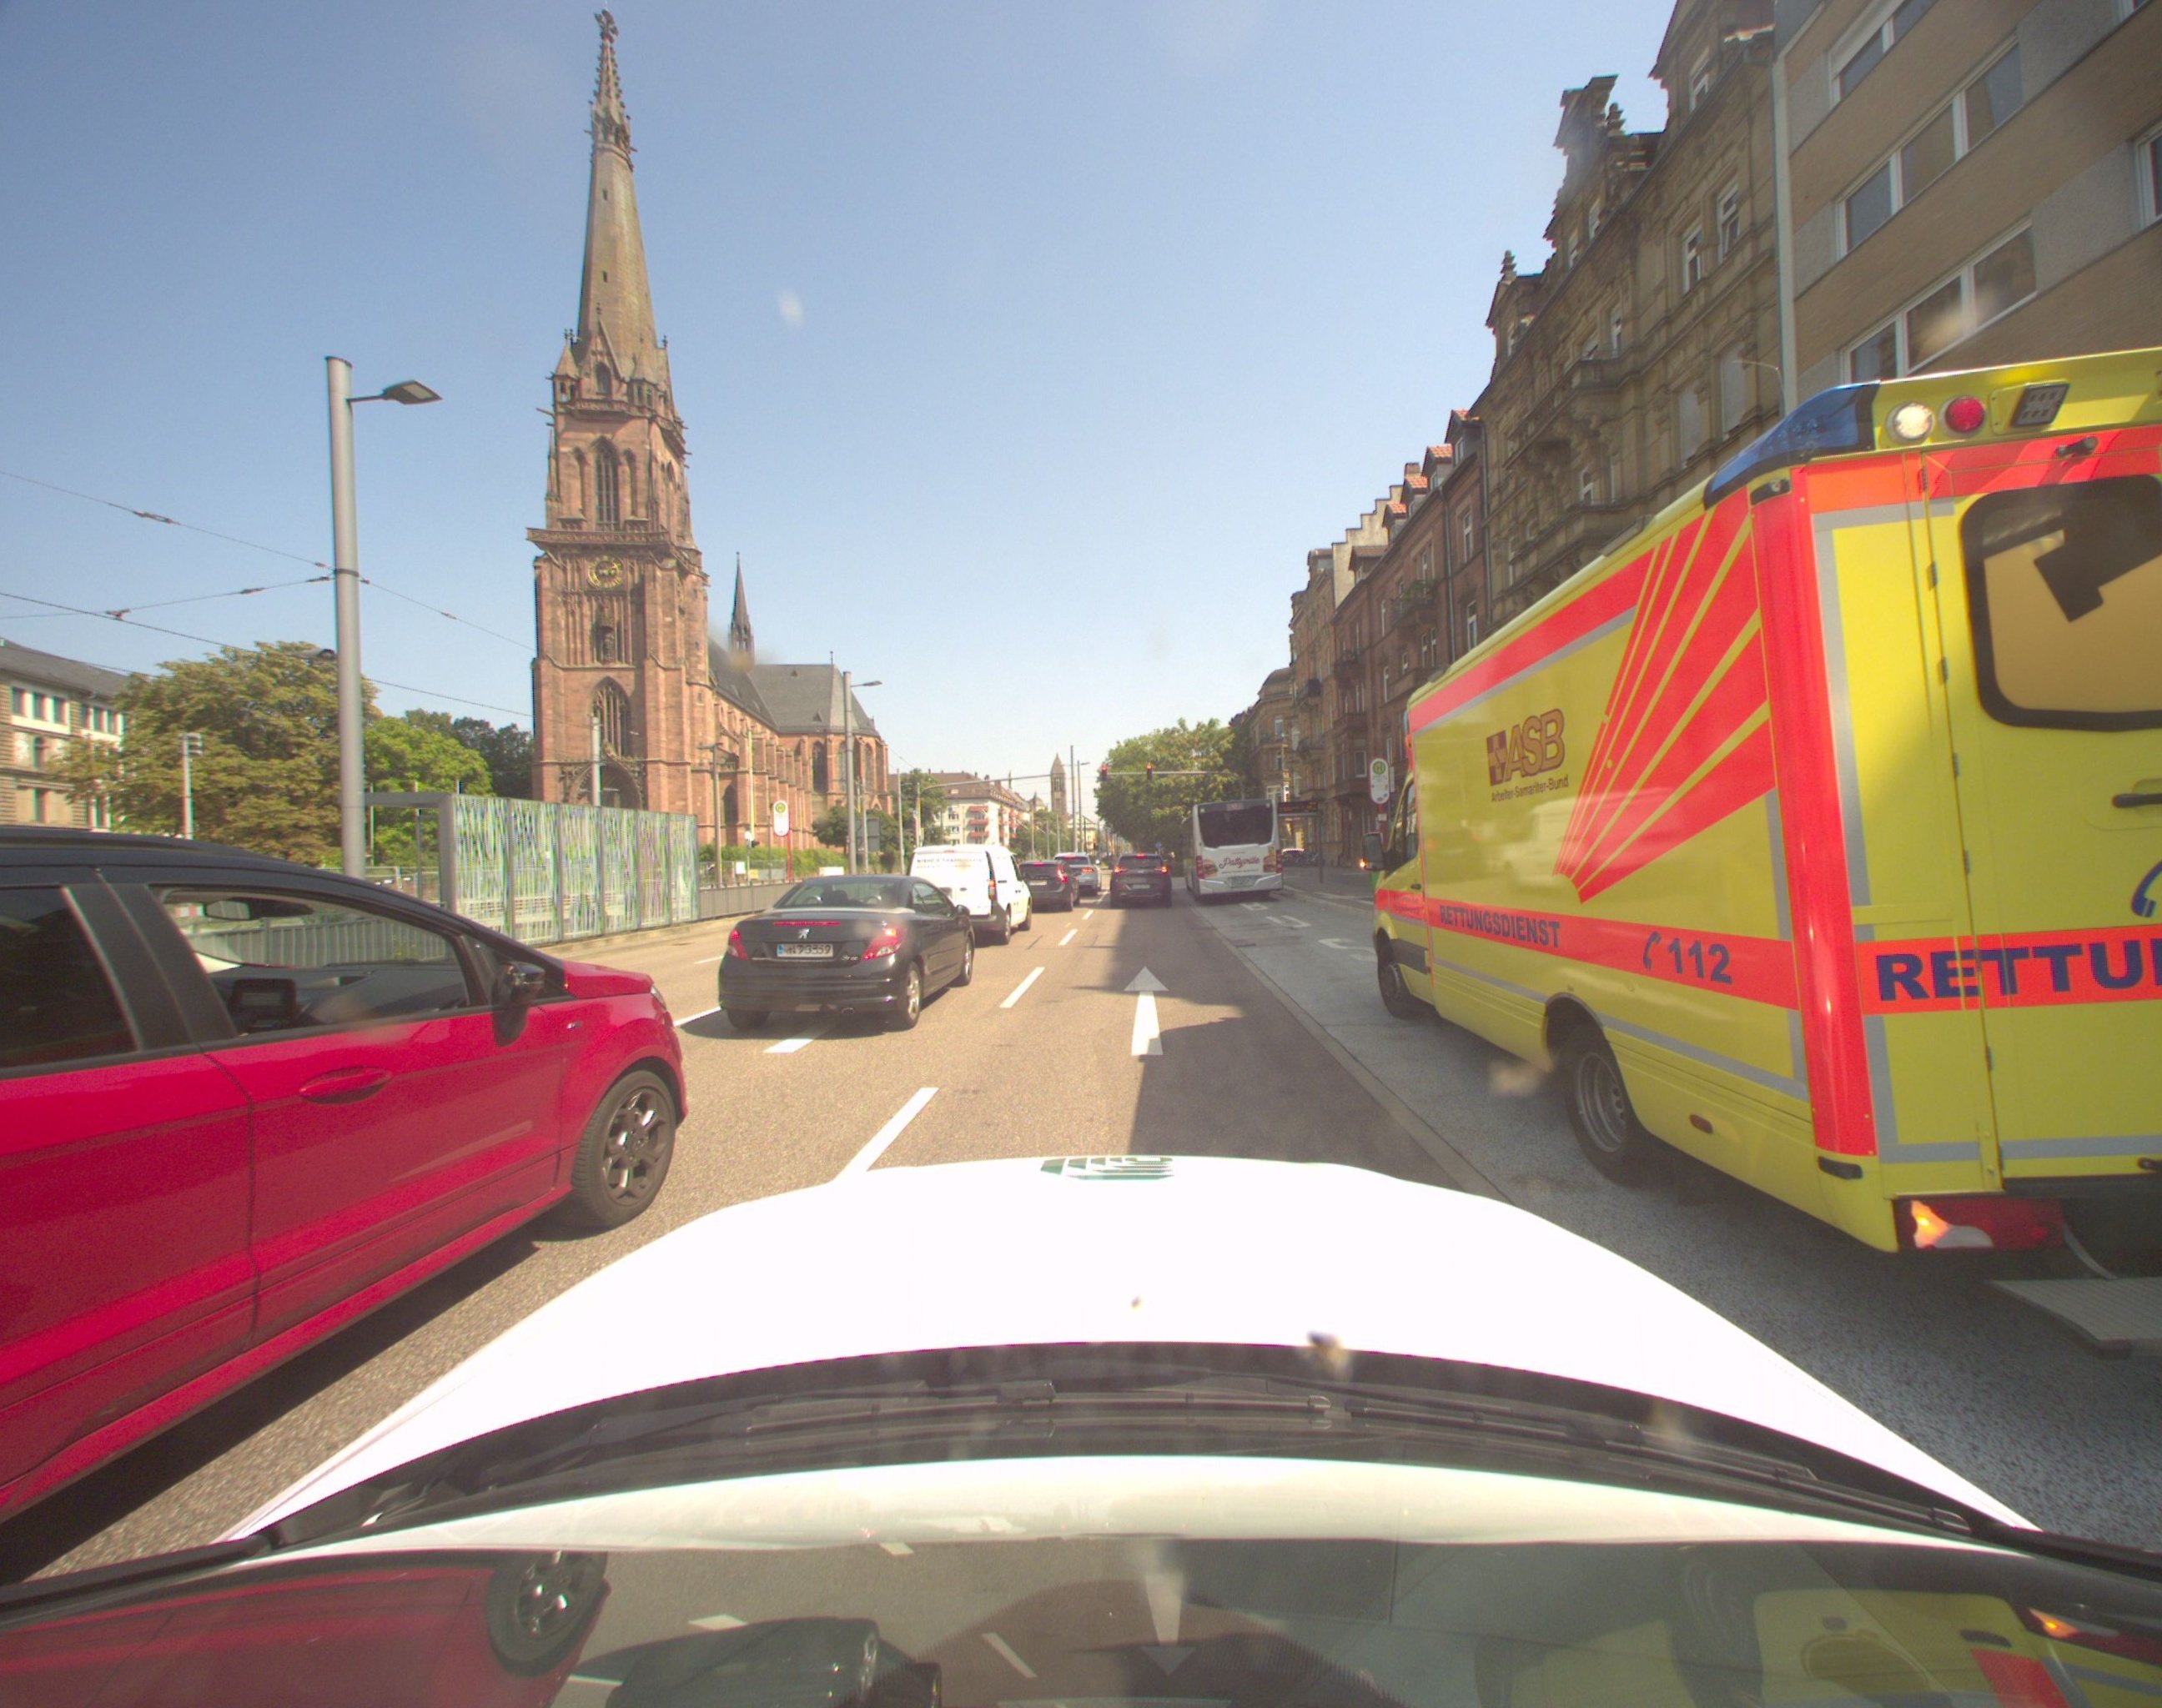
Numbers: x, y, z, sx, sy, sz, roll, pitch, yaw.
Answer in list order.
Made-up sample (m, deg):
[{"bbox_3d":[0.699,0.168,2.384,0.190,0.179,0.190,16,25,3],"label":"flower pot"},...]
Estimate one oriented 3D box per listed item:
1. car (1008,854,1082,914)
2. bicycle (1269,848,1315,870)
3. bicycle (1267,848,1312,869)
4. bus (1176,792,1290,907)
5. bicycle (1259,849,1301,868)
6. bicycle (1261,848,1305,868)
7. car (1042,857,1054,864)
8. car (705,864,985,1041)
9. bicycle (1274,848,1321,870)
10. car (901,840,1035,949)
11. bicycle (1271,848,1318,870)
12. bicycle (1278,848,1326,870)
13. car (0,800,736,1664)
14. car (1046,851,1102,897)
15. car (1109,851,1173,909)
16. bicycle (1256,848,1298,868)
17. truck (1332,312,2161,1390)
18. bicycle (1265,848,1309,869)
[{"bbox_3d":[-0.968,0.808,24.326,1.740,1.614,4.312,-1,0,3],"label":"car"},{"bbox_3d":[14.946,0.346,57.709,2.981,1.371,0.872,-2,0,2],"label":"bicycle"},{"bbox_3d":[15.002,0.325,58.653,2.991,1.373,0.948,-2,0,2],"label":"bicycle"},{"bbox_3d":[5.104,-0.122,29.550,2.730,3.107,11.973,-5,-1,5],"label":"bus"},{"bbox_3d":[15.146,0.341,62.075,2.991,1.373,0.948,-2,0,2],"label":"bicycle"},{"bbox_3d":[15.056,0.323,60.759,2.991,1.373,0.948,-2,0,2],"label":"bicycle"},{"bbox_3d":[-7.358,1.498,180.493,1.737,1.435,4.582,-3,0,7],"label":"car"},{"bbox_3d":[-2.205,0.852,8.712,1.681,1.413,3.804,-1,0,3],"label":"car"},{"bbox_3d":[14.848,0.329,55.850,2.981,1.371,0.872,-2,0,2],"label":"bicycle"},{"bbox_3d":[-2.045,0.698,15.958,1.740,1.820,4.243,-1,0,3],"label":"car"},{"bbox_3d":[14.864,0.331,56.764,2.981,1.371,0.872,-2,0,2],"label":"bicycle"},{"bbox_3d":[14.887,0.341,54.940,2.981,1.371,0.872,-2,0,2],"label":"bicycle"},{"bbox_3d":[-2.785,0.722,2.324,1.622,1.620,3.973,-1,0,5],"label":"car"},{"bbox_3d":[-0.209,0.724,32.186,1.894,1.651,4.312,-1,0,3],"label":"car"},{"bbox_3d":[1.904,0.757,25.662,1.824,1.651,4.314,-1,0,5],"label":"car"},{"bbox_3d":[15.166,0.323,63.080,2.991,1.373,0.948,-2,0,2],"label":"bicycle"},{"bbox_3d":[3.488,-0.036,5.221,2.316,2.770,6.350,-4,-1,7],"label":"truck"},{"bbox_3d":[15.081,0.317,59.746,2.991,1.373,0.948,-2,0,2],"label":"bicycle"}]
